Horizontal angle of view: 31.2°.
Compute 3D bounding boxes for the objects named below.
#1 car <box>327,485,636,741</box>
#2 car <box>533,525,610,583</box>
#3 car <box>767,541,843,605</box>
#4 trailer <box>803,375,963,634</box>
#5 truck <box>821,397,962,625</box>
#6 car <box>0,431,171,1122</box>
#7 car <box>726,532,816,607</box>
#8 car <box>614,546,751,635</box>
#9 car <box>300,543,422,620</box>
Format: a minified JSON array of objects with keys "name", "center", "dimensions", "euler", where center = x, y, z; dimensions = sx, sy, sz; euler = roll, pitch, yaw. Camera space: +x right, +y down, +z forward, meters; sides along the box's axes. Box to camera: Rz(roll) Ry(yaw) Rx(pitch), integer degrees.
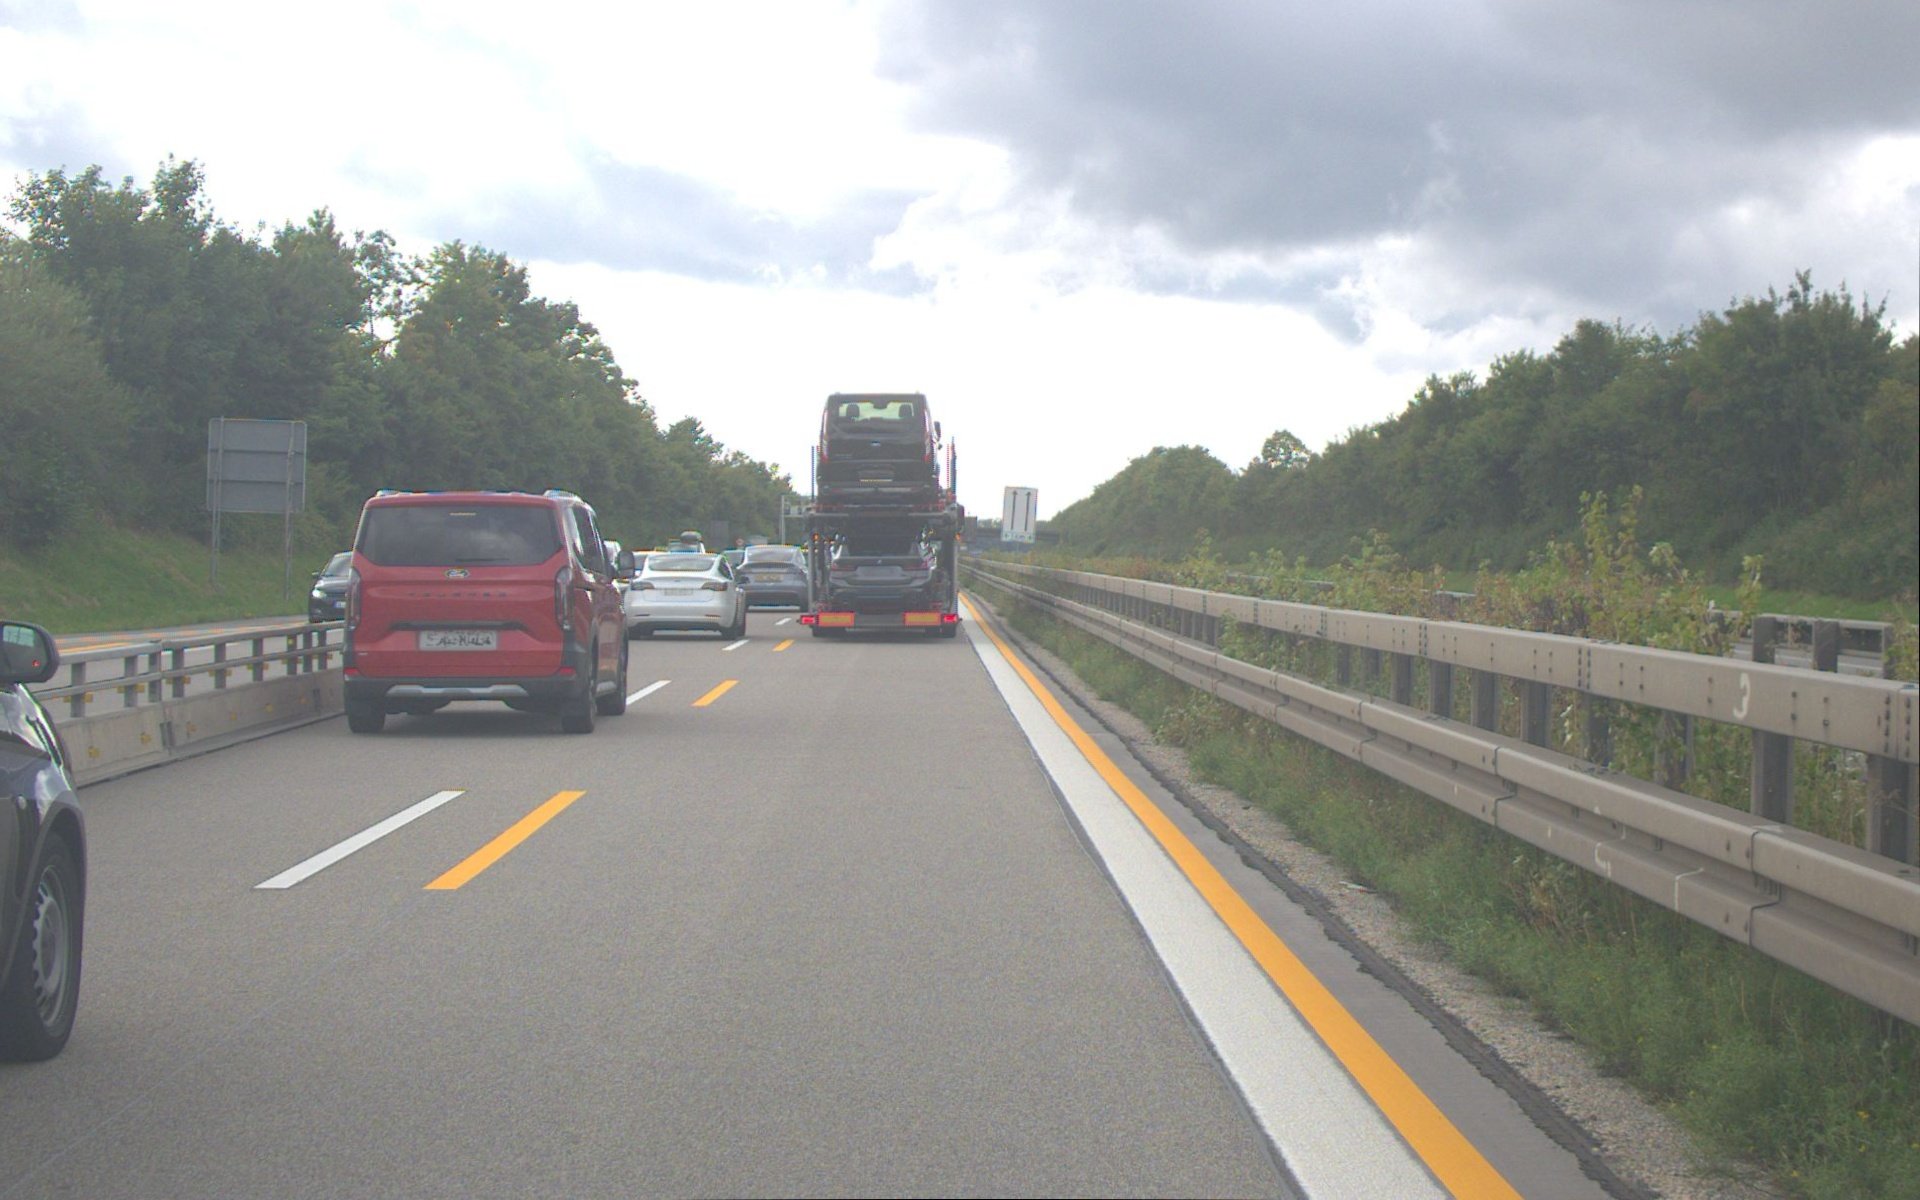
[{"name":"car","center":[-3.964,0.067,29.219],"dimensions":[2.031,2.007,4.578],"euler":[0,1,-1]},{"name":"car","center":[-12.340,-1.475,109.494],"dimensions":[1.993,1.785,4.934],"euler":[0,1,-1]},{"name":"car","center":[-4.325,-0.764,96.518],"dimensions":[2.031,1.751,4.578],"euler":[0,1,-1]},{"name":"trailer","center":[-1.229,-1.585,60.097],"dimensions":[2.515,4.091,11.114],"euler":[0,1,0]},{"name":"truck","center":[-1.234,-1.647,64.885],"dimensions":[2.515,4.091,5.685],"euler":[0,1,0]},{"name":"car","center":[-3.542,0.483,8.382],"dimensions":[1.993,1.837,5.610],"euler":[0,1,-1]},{"name":"car","center":[-4.541,-0.756,83.314],"dimensions":[2.031,1.751,4.578],"euler":[0,1,-1]},{"name":"car","center":[-4.621,-0.186,57.852],"dimensions":[2.031,1.426,4.578],"euler":[0,1,-1]},{"name":"car","center":[-11.275,-0.368,64.867],"dimensions":[1.757,1.383,4.001],"euler":[1,1,-3]}]
